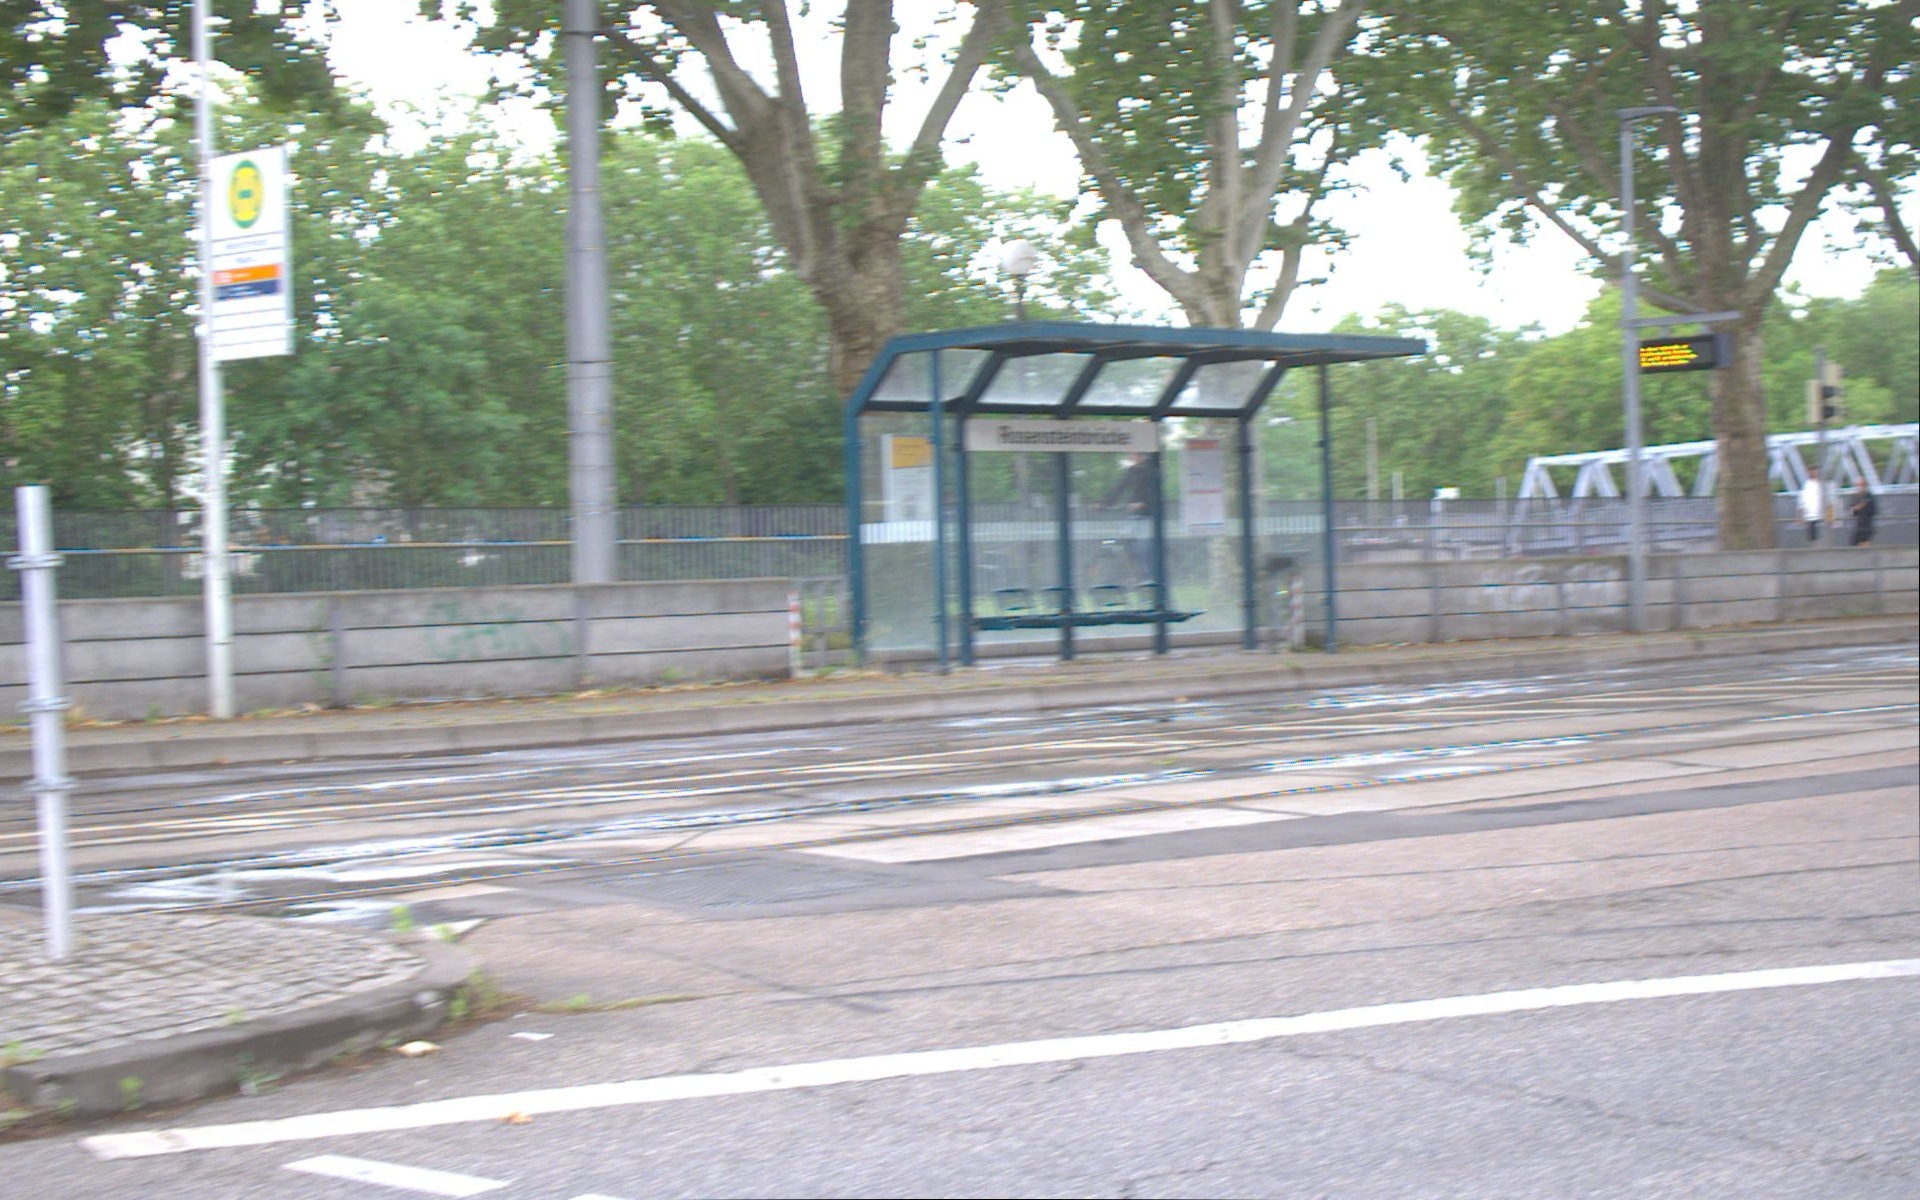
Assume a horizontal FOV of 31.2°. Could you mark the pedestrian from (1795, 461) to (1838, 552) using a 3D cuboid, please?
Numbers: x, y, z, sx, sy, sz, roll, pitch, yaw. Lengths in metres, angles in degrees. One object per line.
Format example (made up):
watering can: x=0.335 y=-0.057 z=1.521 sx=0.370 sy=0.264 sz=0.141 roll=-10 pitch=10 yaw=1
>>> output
pedestrian: x=13.807 y=-1.498 z=55.440 sx=0.472 sy=1.446 sz=0.510 roll=-1 pitch=-1 yaw=41

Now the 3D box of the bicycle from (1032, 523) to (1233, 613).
bicycle: x=2.040 y=-0.370 z=40.407 sx=0.934 sy=1.010 sz=2.491 roll=-1 pitch=-1 yaw=44

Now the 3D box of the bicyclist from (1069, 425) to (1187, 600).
bicyclist: x=1.970 y=-1.009 z=40.379 sx=0.957 sy=2.007 sz=0.975 roll=-1 pitch=-1 yaw=45

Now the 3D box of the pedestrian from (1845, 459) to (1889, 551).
pedestrian: x=14.456 y=-1.514 z=54.780 sx=0.472 sy=1.446 sz=0.510 roll=-1 pitch=-1 yaw=41
